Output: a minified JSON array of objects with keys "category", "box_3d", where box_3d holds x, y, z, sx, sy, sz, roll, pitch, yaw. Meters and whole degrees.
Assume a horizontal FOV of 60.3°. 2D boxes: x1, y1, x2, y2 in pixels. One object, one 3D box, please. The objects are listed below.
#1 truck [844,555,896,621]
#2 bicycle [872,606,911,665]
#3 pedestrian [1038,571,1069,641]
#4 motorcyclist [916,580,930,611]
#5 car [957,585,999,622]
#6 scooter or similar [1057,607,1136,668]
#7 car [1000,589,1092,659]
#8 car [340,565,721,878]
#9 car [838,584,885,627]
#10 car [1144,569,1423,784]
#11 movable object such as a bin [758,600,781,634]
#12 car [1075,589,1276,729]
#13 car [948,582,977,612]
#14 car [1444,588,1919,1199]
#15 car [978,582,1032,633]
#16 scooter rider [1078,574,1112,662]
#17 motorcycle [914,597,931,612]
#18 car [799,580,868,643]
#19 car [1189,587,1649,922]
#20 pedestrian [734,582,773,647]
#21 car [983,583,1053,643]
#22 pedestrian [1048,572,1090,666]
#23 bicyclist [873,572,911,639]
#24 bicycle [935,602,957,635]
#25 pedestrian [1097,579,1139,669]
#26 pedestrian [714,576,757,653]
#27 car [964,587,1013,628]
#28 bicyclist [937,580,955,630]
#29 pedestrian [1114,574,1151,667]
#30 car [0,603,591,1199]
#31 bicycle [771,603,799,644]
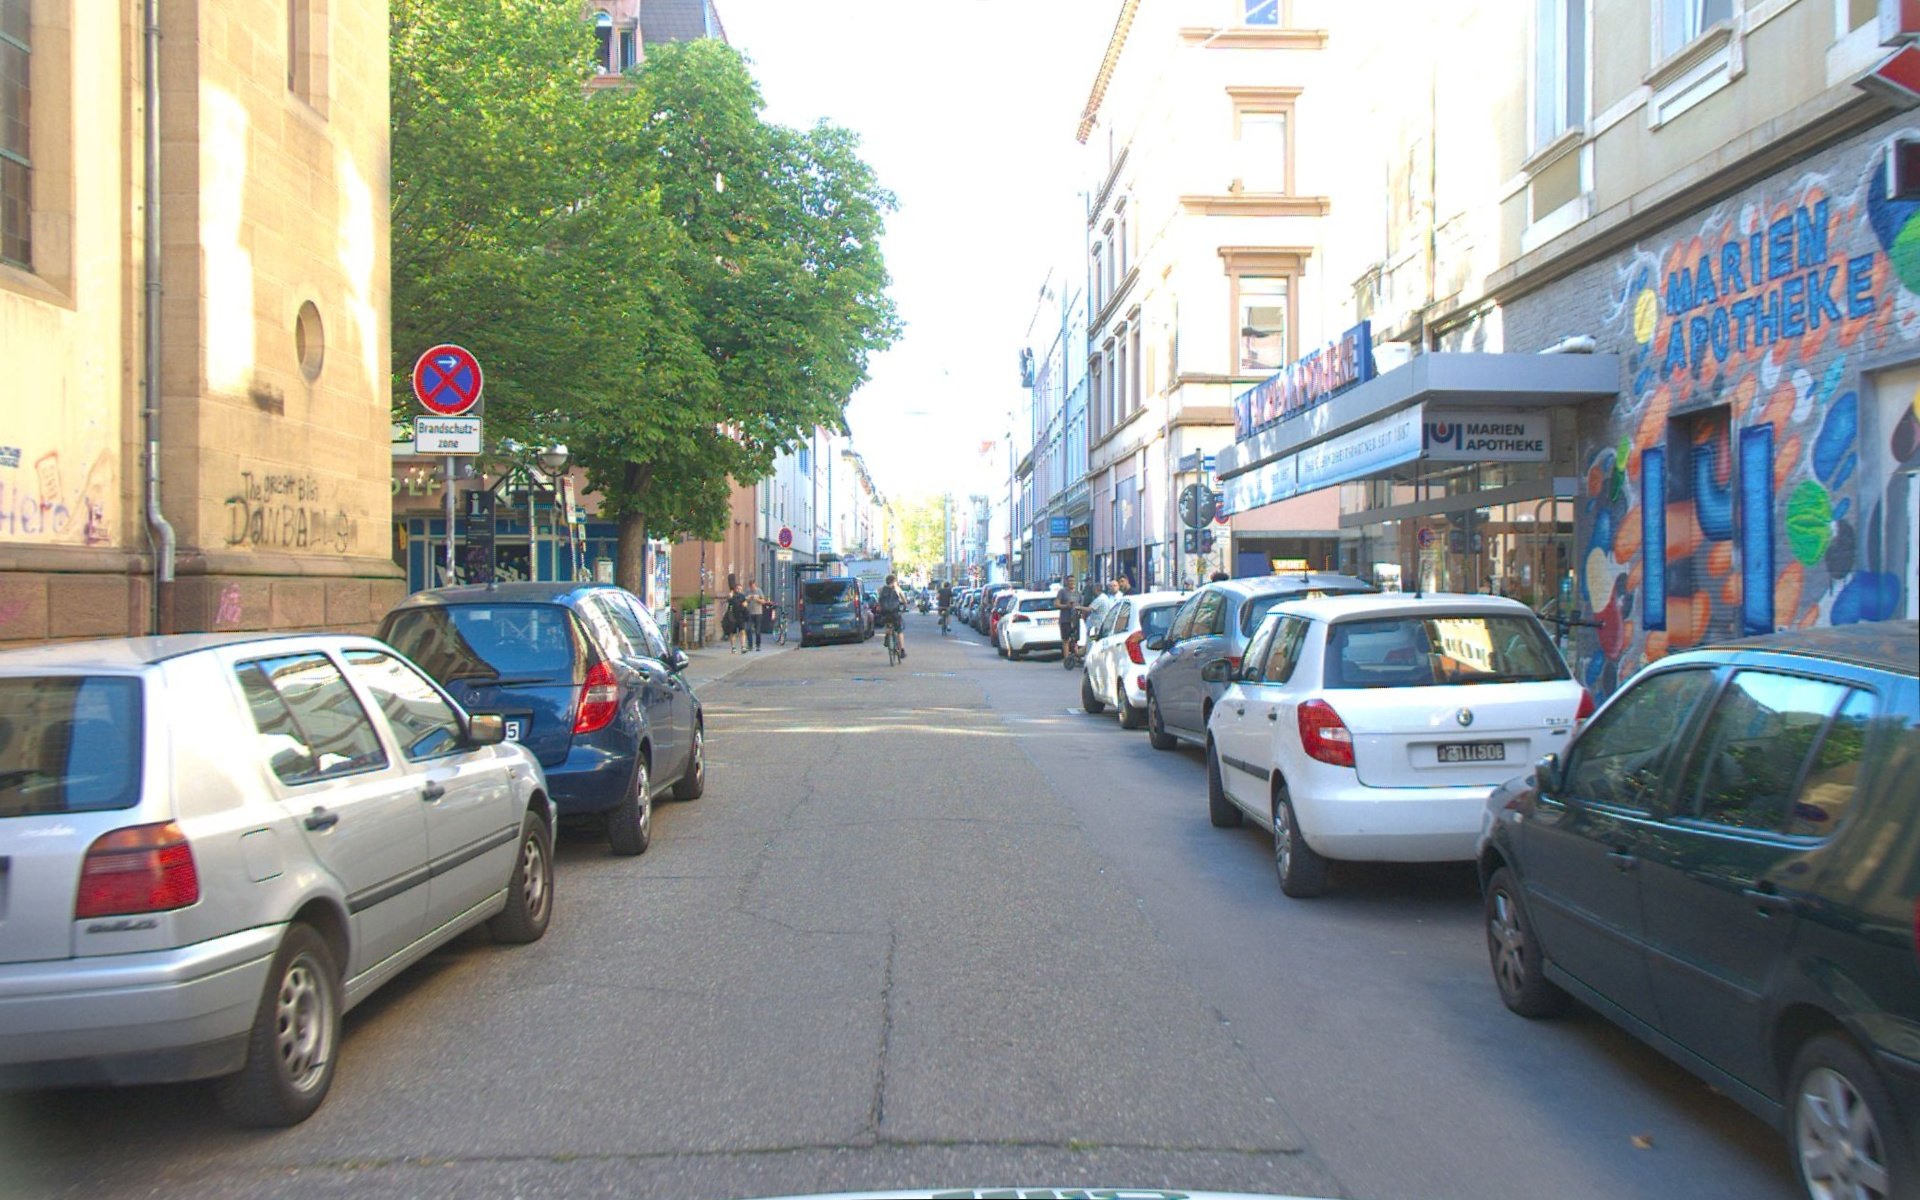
[{"category":"truck","box_3d":[-4.738,-0.634,88.406,2.480,3.339,6.993,0,0,-1]},{"category":"bicycle","box_3d":[-1.377,0.706,33.520,0.749,1.129,1.947,0,0,-1]},{"category":"pedestrian","box_3d":[2.567,0.162,45.367,0.766,1.875,1.012,1,0,7]},{"category":"motorcyclist","box_3d":[-2.444,-0.288,108.880,0.884,2.049,1.190,0,0,-3]},{"category":"car","box_3d":[0.893,0.172,82.819,1.953,1.715,3.999,2,0,-1]},{"category":"scooter or similar","box_3d":[2.641,0.722,32.051,1.497,1.159,0.601,0,0,4]},{"category":"car","box_3d":[1.934,0.510,38.141,1.859,1.514,3.869,0,0,-1]},{"category":"car","box_3d":[-2.623,0.655,10.954,1.568,1.642,3.807,-2,0,-2]},{"category":"car","box_3d":[-4.249,0.211,71.817,1.837,1.828,3.999,0,0,-1]},{"category":"car","box_3d":[2.758,0.588,14.951,1.682,1.674,3.999,0,0,-1]},{"category":"movable object such as a bin","box_3d":[-6.611,0.588,57.317,0.699,1.161,0.583,0,0,2]},{"category":"car","box_3d":[2.470,0.624,19.869,1.682,1.514,3.866,0,0,-4]},{"category":"car","box_3d":[0.170,-0.221,114.510,1.953,2.049,3.999,0,0,-1]},{"category":"car","box_3d":[2.761,0.747,4.912,1.537,1.521,3.653,1,0,0]},{"category":"car","box_3d":[1.570,0.238,58.965,1.733,1.771,3.999,0,1,-1]},{"category":"scooter rider","box_3d":[2.616,0.343,32.059,0.636,1.671,0.684,0,0,5]},{"category":"motorcycle","box_3d":[-2.450,0.290,108.844,1.021,0.997,2.823,0,0,-3]},{"category":"car","box_3d":[-3.783,0.310,50.174,1.837,1.828,3.999,0,0,-1]},{"category":"car","box_3d":[2.415,0.708,9.698,1.571,1.531,4.000,1,0,0]},{"category":"pedestrian","box_3d":[-5.352,0.381,42.865,0.910,1.666,0.806,0,0,0]},{"category":"car","box_3d":[1.652,0.348,48.359,1.859,1.680,3.999,0,0,-1]},{"category":"pedestrian","box_3d":[2.178,0.372,33.184,0.669,1.875,0.692,0,0,-13]},{"category":"bicyclist","box_3d":[-1.371,0.108,33.492,0.739,1.329,1.062,0,0,-1]},{"category":"bicycle","box_3d":[-0.482,0.620,56.334,0.724,1.062,1.859,0,0,-1]},{"category":"pedestrian","box_3d":[2.973,0.447,31.114,0.539,1.671,0.598,0,0,-42]},{"category":"pedestrian","box_3d":[-5.377,0.335,39.719,0.910,1.817,0.806,0,0,0]},{"category":"car","box_3d":[1.199,0.293,72.177,1.953,1.660,3.999,2,0,-1]},{"category":"bicyclist","box_3d":[-0.481,0.165,56.338,0.593,1.717,0.885,0,0,-1]},{"category":"pedestrian","box_3d":[3.150,0.369,30.231,0.454,1.671,0.494,0,0,-42]},{"category":"car","box_3d":[-2.610,0.784,5.969,1.538,1.422,3.809,-4,0,1]},{"category":"bicycle","box_3d":[-4.983,0.668,47.061,0.633,1.128,1.600,0,0,-12]}]
